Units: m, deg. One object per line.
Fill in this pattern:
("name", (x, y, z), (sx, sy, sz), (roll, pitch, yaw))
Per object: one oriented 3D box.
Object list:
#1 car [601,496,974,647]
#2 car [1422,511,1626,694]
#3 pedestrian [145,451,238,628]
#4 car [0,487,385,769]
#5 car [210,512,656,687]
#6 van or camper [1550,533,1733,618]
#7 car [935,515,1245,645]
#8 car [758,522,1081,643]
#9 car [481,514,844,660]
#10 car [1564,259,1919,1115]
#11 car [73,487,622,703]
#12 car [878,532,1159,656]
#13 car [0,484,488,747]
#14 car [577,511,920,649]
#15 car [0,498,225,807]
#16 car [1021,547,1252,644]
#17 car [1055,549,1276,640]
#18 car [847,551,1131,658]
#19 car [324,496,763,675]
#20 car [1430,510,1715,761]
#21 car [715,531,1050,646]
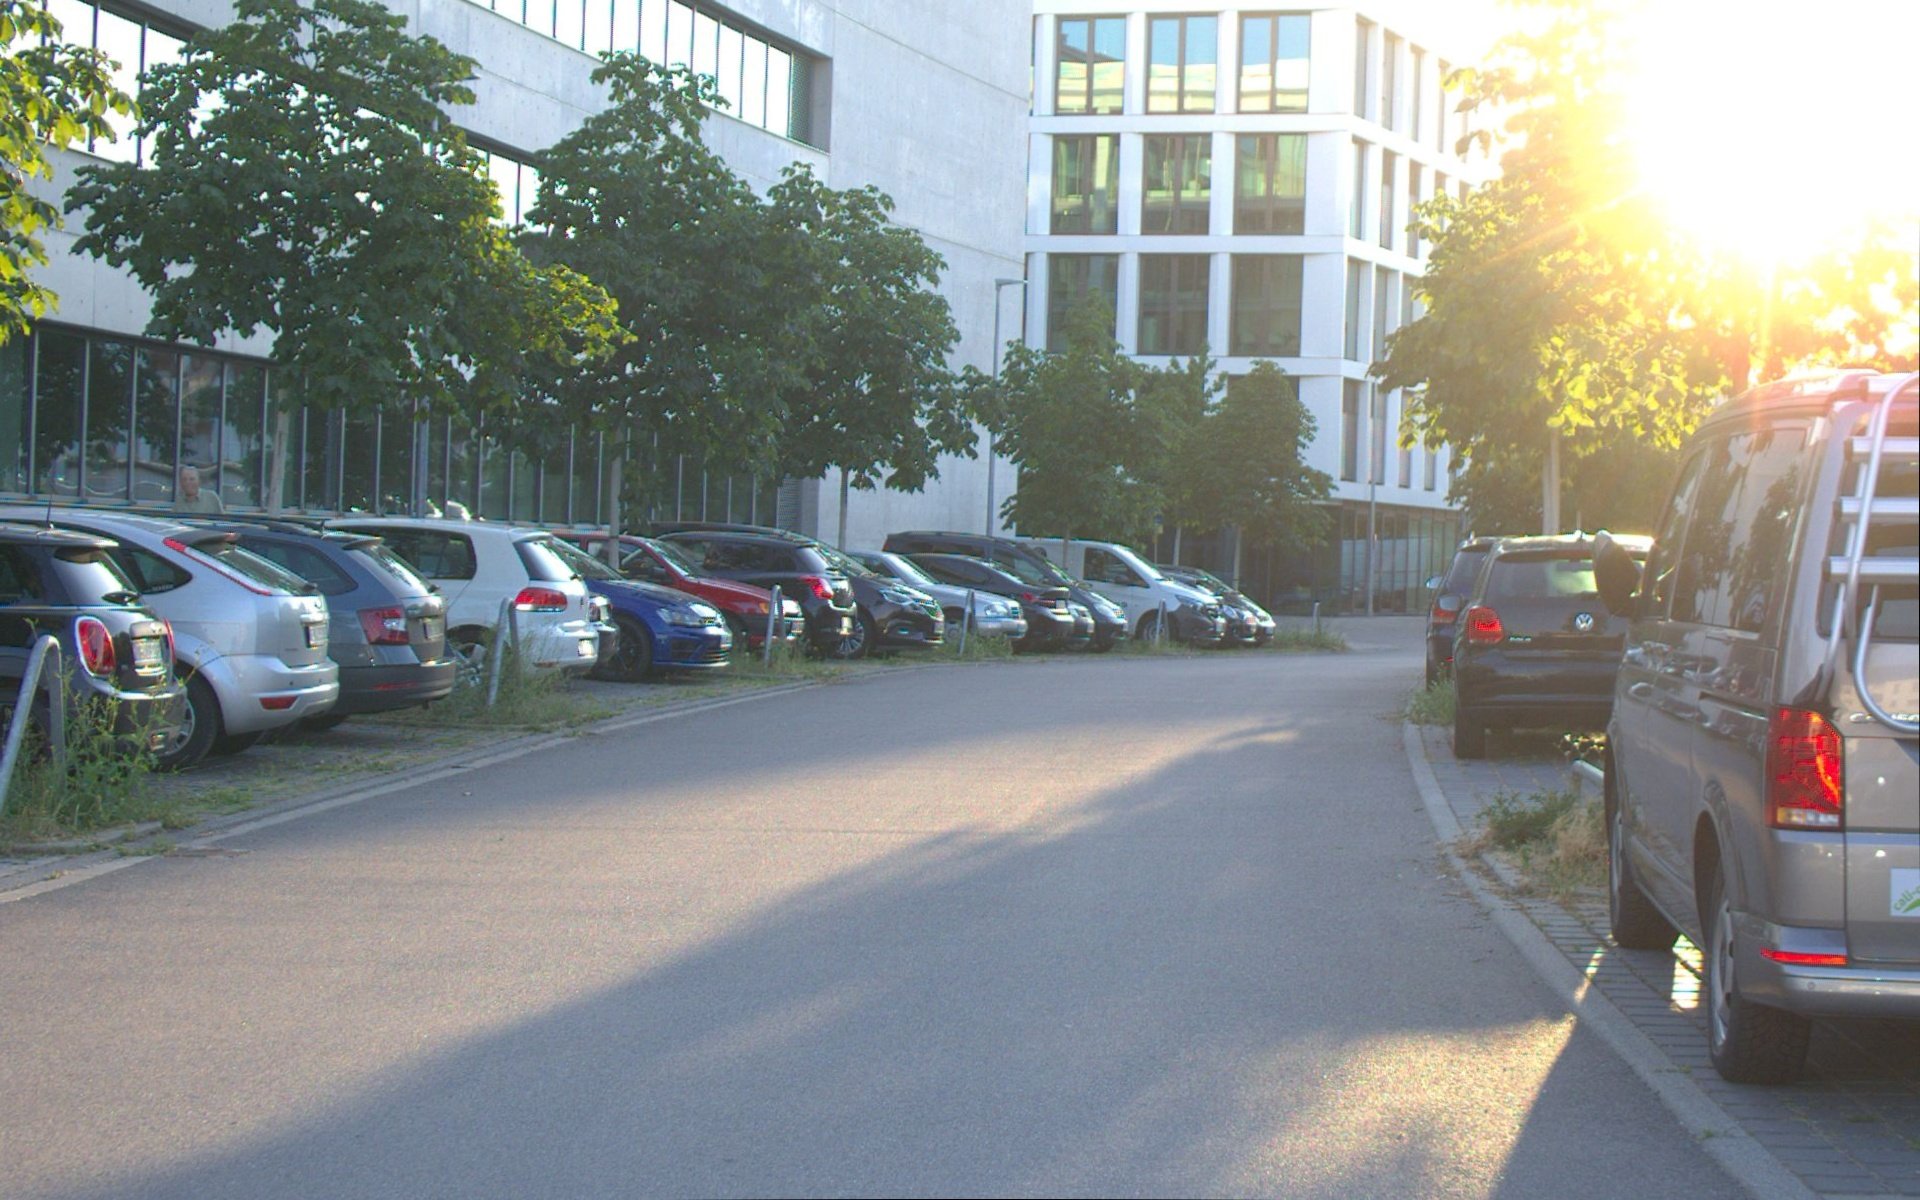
("car", (-2.145, -0.362, 43.329), (4.311, 1.690, 1.895), (2, 0, 11))
("car", (5.310, -0.024, 32.049), (1.711, 1.544, 4.546), (1, 1, 11))
("pedestrian", (-7.937, -0.625, 35.534), (0.646, 1.778, 0.725), (3, 1, 9))
("car", (-5.733, 0.084, 20.808), (4.086, 1.523, 1.846), (3, 1, 2))
("car", (-4.697, -0.028, 30.940), (3.633, 1.357, 1.686), (3, 1, 4))
("van or camper", (22.145, -0.813, 111.798), (5.459, 2.475, 1.773), (3, 2, 24))
("car", (2.319, -0.352, 61.034), (5.080, 1.940, 1.887), (4, 1, 16))
("car", (-0.598, -0.260, 51.282), (4.402, 1.494, 1.761), (4, 1, 19))
("car", (-3.317, -0.155, 38.647), (3.704, 1.452, 1.711), (2, 0, 10))
("car", (3.166, 0.178, 10.768), (2.066, 2.087, 4.871), (1, 1, 5))
("car", (-4.930, -0.066, 27.942), (3.988, 1.506, 1.759), (3, 1, 7))
("car", (0.972, -0.103, 56.829), (4.250, 1.736, 1.723), (4, 1, 15))
("car", (-5.335, 0.057, 23.103), (3.998, 1.507, 1.585), (3, 2, 2))
("car", (-2.482, -0.240, 40.710), (3.704, 1.452, 1.678), (2, 0, 11))
("car", (-5.972, 0.170, 18.076), (3.735, 1.477, 1.770), (3, 2, 3))
("car", (3.309, -0.079, 64.371), (3.990, 1.517, 1.604), (4, 1, 15))
("car", (3.966, -0.109, 66.197), (3.890, 1.483, 1.650), (4, 1, 17))
("car", (0.478, 0.073, 54.899), (4.147, 1.399, 1.723), (4, 1, 15))
("car", (-4.034, -0.166, 33.579), (3.871, 1.506, 1.759), (3, 1, 9))
("car", (4.130, 0.183, 23.441), (1.741, 1.546, 3.638), (1, 1, 9))
("car", (-1.096, -0.185, 49.124), (4.436, 1.459, 1.762), (2, 1, 15))
